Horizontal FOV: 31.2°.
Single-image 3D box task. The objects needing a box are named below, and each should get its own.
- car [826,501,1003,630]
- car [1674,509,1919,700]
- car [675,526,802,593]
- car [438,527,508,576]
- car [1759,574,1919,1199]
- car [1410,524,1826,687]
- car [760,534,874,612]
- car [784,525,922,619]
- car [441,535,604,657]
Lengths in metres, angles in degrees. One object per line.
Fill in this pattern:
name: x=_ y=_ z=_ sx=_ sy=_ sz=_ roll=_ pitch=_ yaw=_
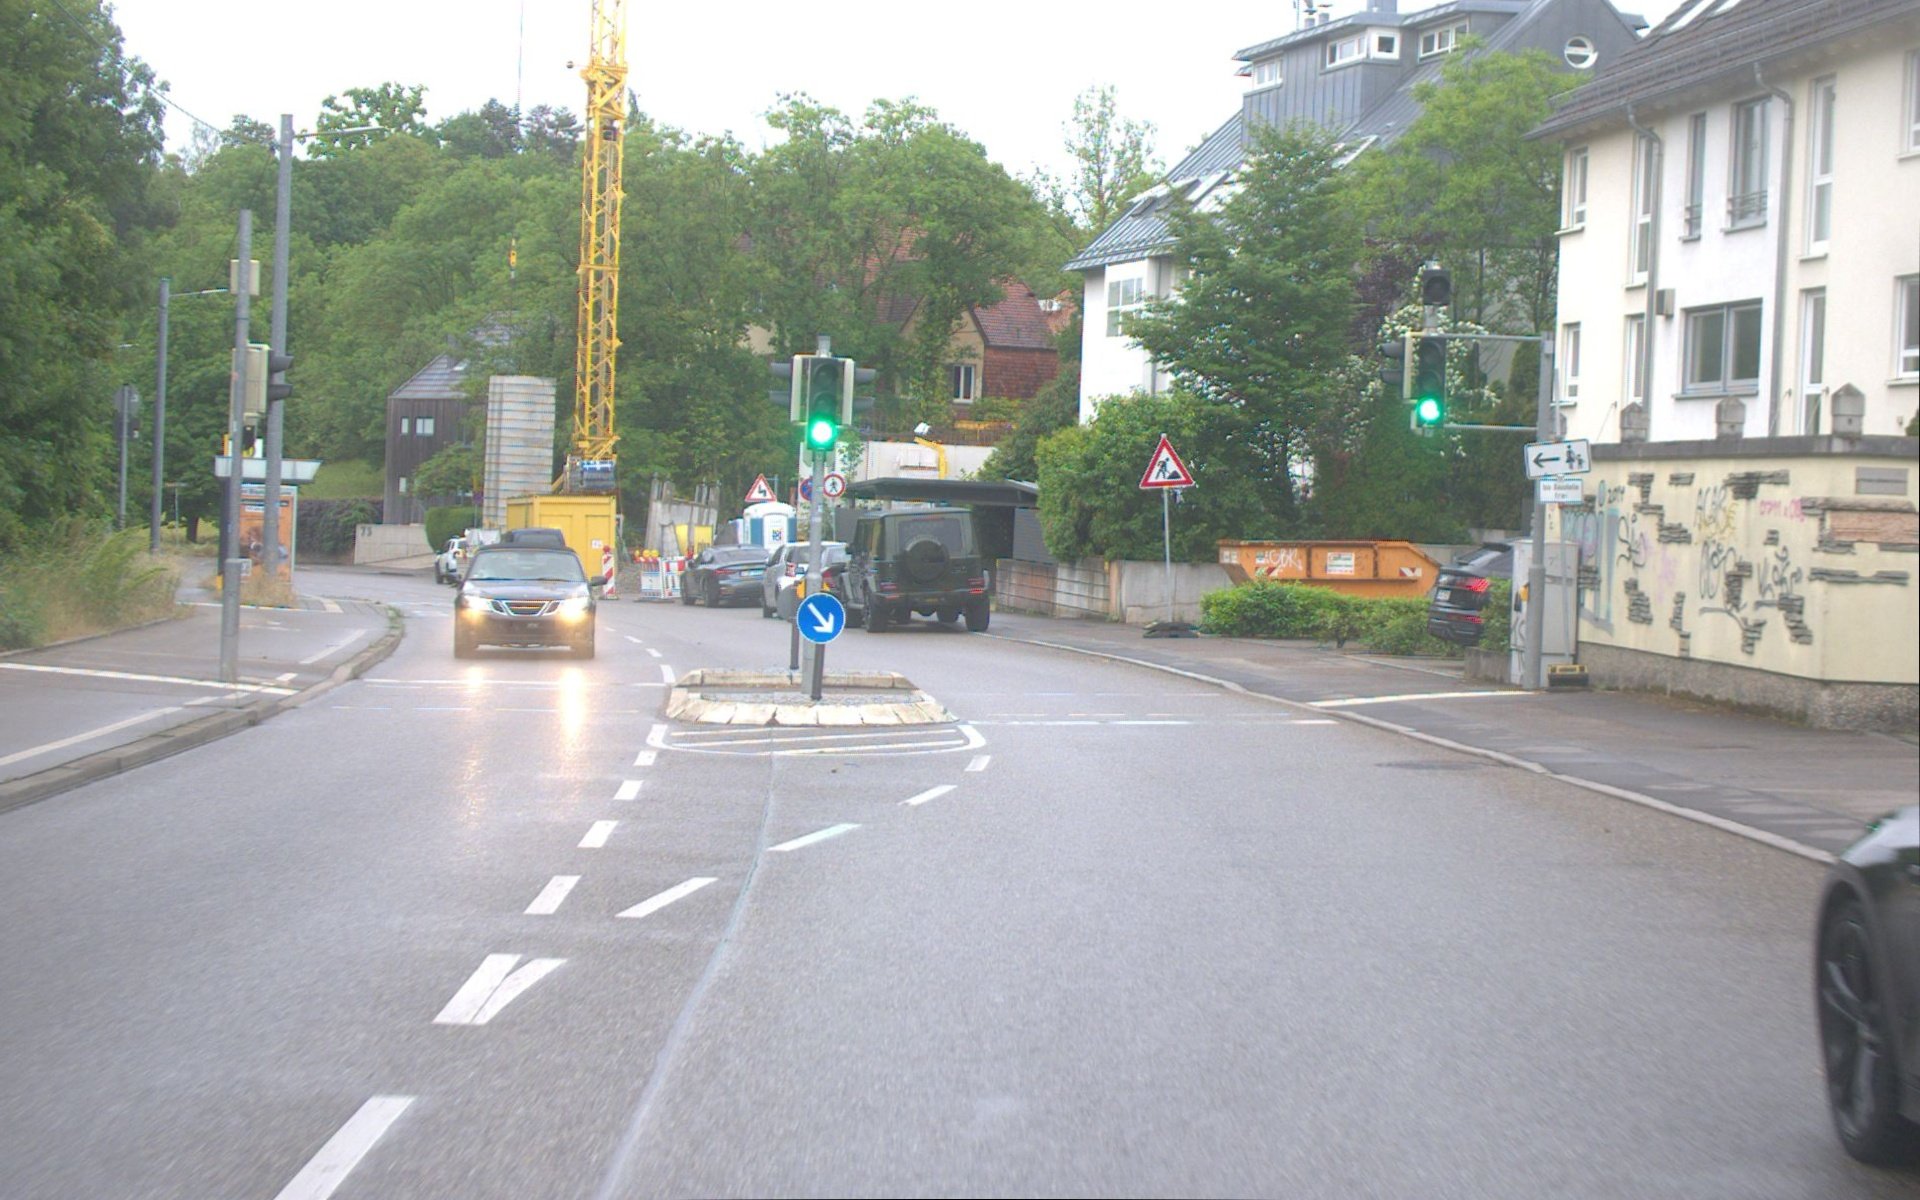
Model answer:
car: x=-0.807 y=-0.585 z=56.748 sx=1.993 sy=2.007 sz=4.958 roll=-1 pitch=1 yaw=-12
car: x=8.299 y=0.059 z=31.440 sx=1.931 sy=1.590 sz=4.343 roll=4 pitch=0 yaw=-9
car: x=-5.191 y=-0.957 z=79.992 sx=1.931 sy=1.417 sz=4.839 roll=2 pitch=1 yaw=-16
car: x=-17.182 y=-1.725 z=121.207 sx=1.744 sy=1.700 sz=4.503 roll=-1 pitch=1 yaw=-17
car: x=2.989 y=0.685 z=6.733 sx=1.751 sy=1.438 sz=4.600 roll=1 pitch=0 yaw=0
car: x=7.740 y=0.058 z=40.676 sx=4.326 sy=1.590 sz=1.993 roll=4 pitch=0 yaw=-8
car: x=-2.764 y=-0.524 z=65.955 sx=1.672 sy=1.452 sz=3.387 roll=0 pitch=1 yaw=-11
car: x=-1.965 y=-0.511 z=61.696 sx=1.931 sy=1.590 sz=4.396 roll=-1 pitch=1 yaw=-9
car: x=-5.527 y=-0.075 z=43.857 sx=1.743 sy=1.455 sz=4.414 roll=1 pitch=1 yaw=-3
